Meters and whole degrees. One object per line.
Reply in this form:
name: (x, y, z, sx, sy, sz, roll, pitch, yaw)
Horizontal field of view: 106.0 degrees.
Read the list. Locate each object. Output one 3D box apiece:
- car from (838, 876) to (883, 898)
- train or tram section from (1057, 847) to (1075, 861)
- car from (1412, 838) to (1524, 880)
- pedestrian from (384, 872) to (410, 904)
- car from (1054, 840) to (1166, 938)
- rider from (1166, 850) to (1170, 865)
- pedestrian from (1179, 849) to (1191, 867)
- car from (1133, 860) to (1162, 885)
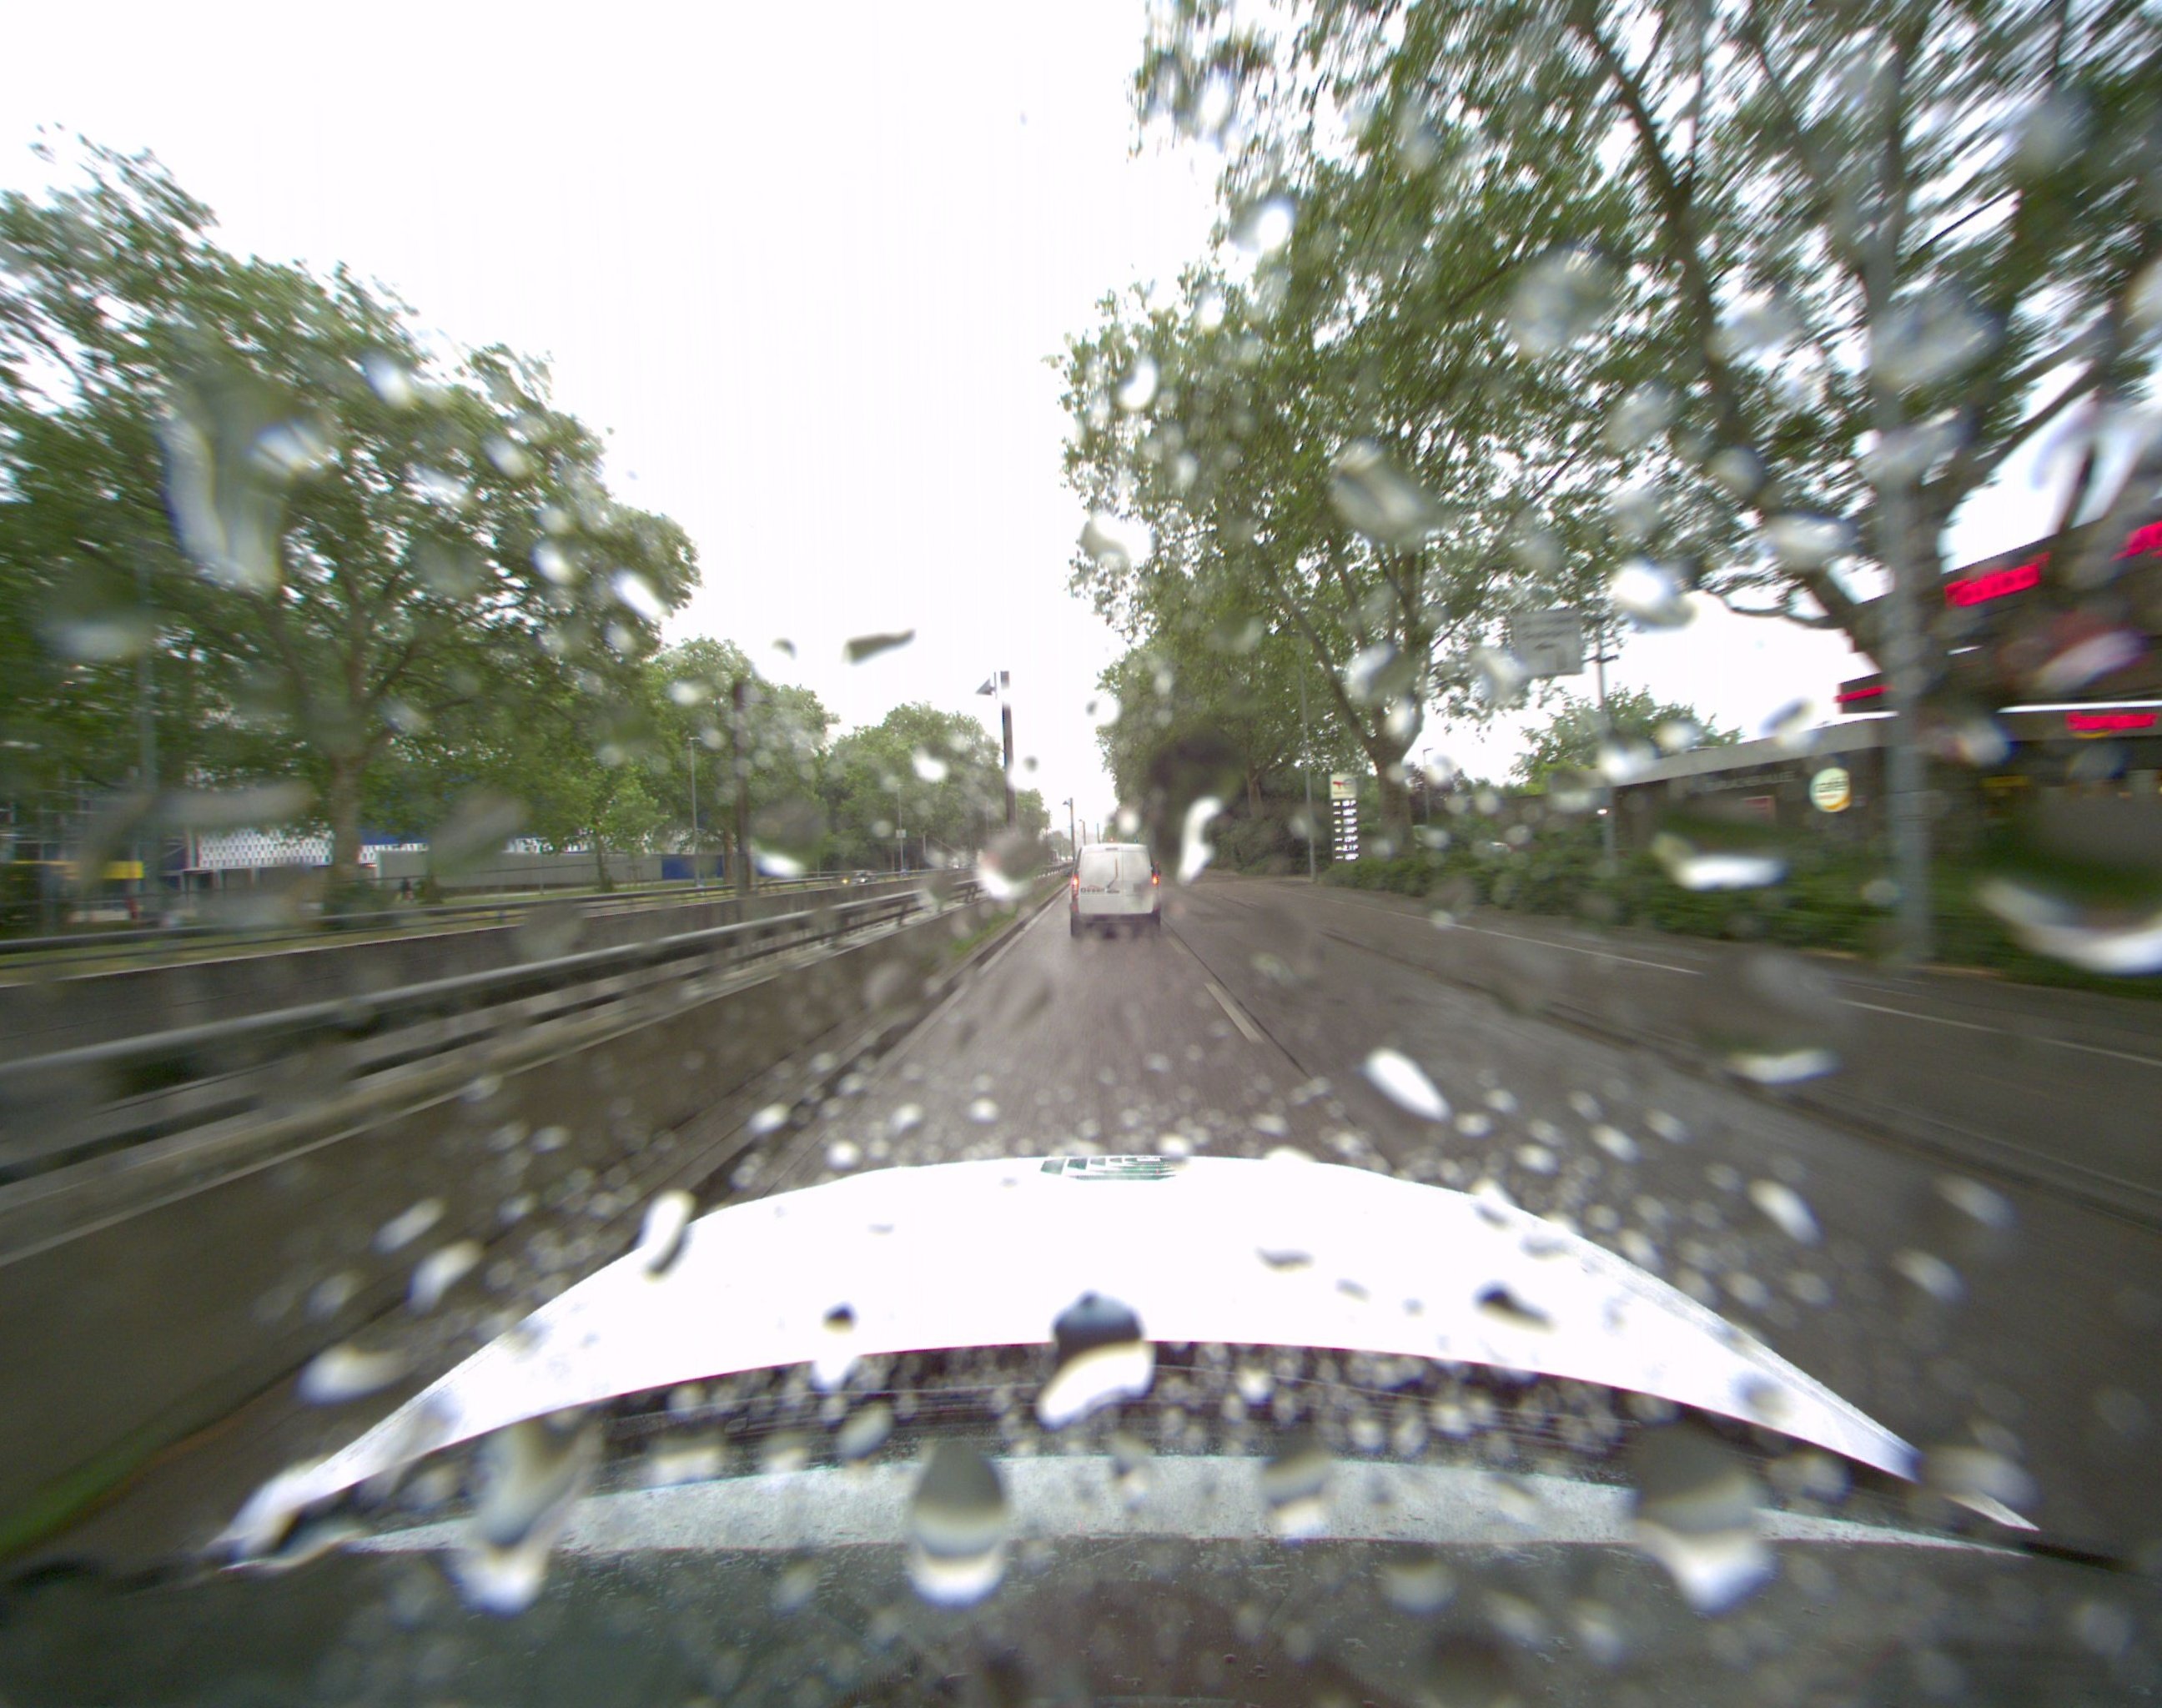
car: (-16.410, 2.445, 60.786, 1.984, 1.403, 3.799, -2, 0, 5)
train or tram section: (-4.411, 0.111, 246.566, 3.756, 4.036, 27.103, -1, 0, 2)
car: (15.011, 0.223, 31.700, 1.616, 1.432, 3.514, 0, -3, -39)
pedestrian: (-43.817, 2.172, 52.201, 0.997, 2.014, 0.790, -1, -1, 3)
car: (0.581, 0.645, 17.021, 2.017, 1.775, 4.275, -1, 0, 1)
rider: (12.116, 0.496, 113.312, 0.544, 2.014, 0.484, -1, -1, 1)
pedestrian: (9.874, 0.402, 77.247, 0.963, 1.702, 1.141, -1, 0, 2)
car: (4.976, 1.328, 60.545, 1.984, 1.750, 4.006, -1, 0, 5)
